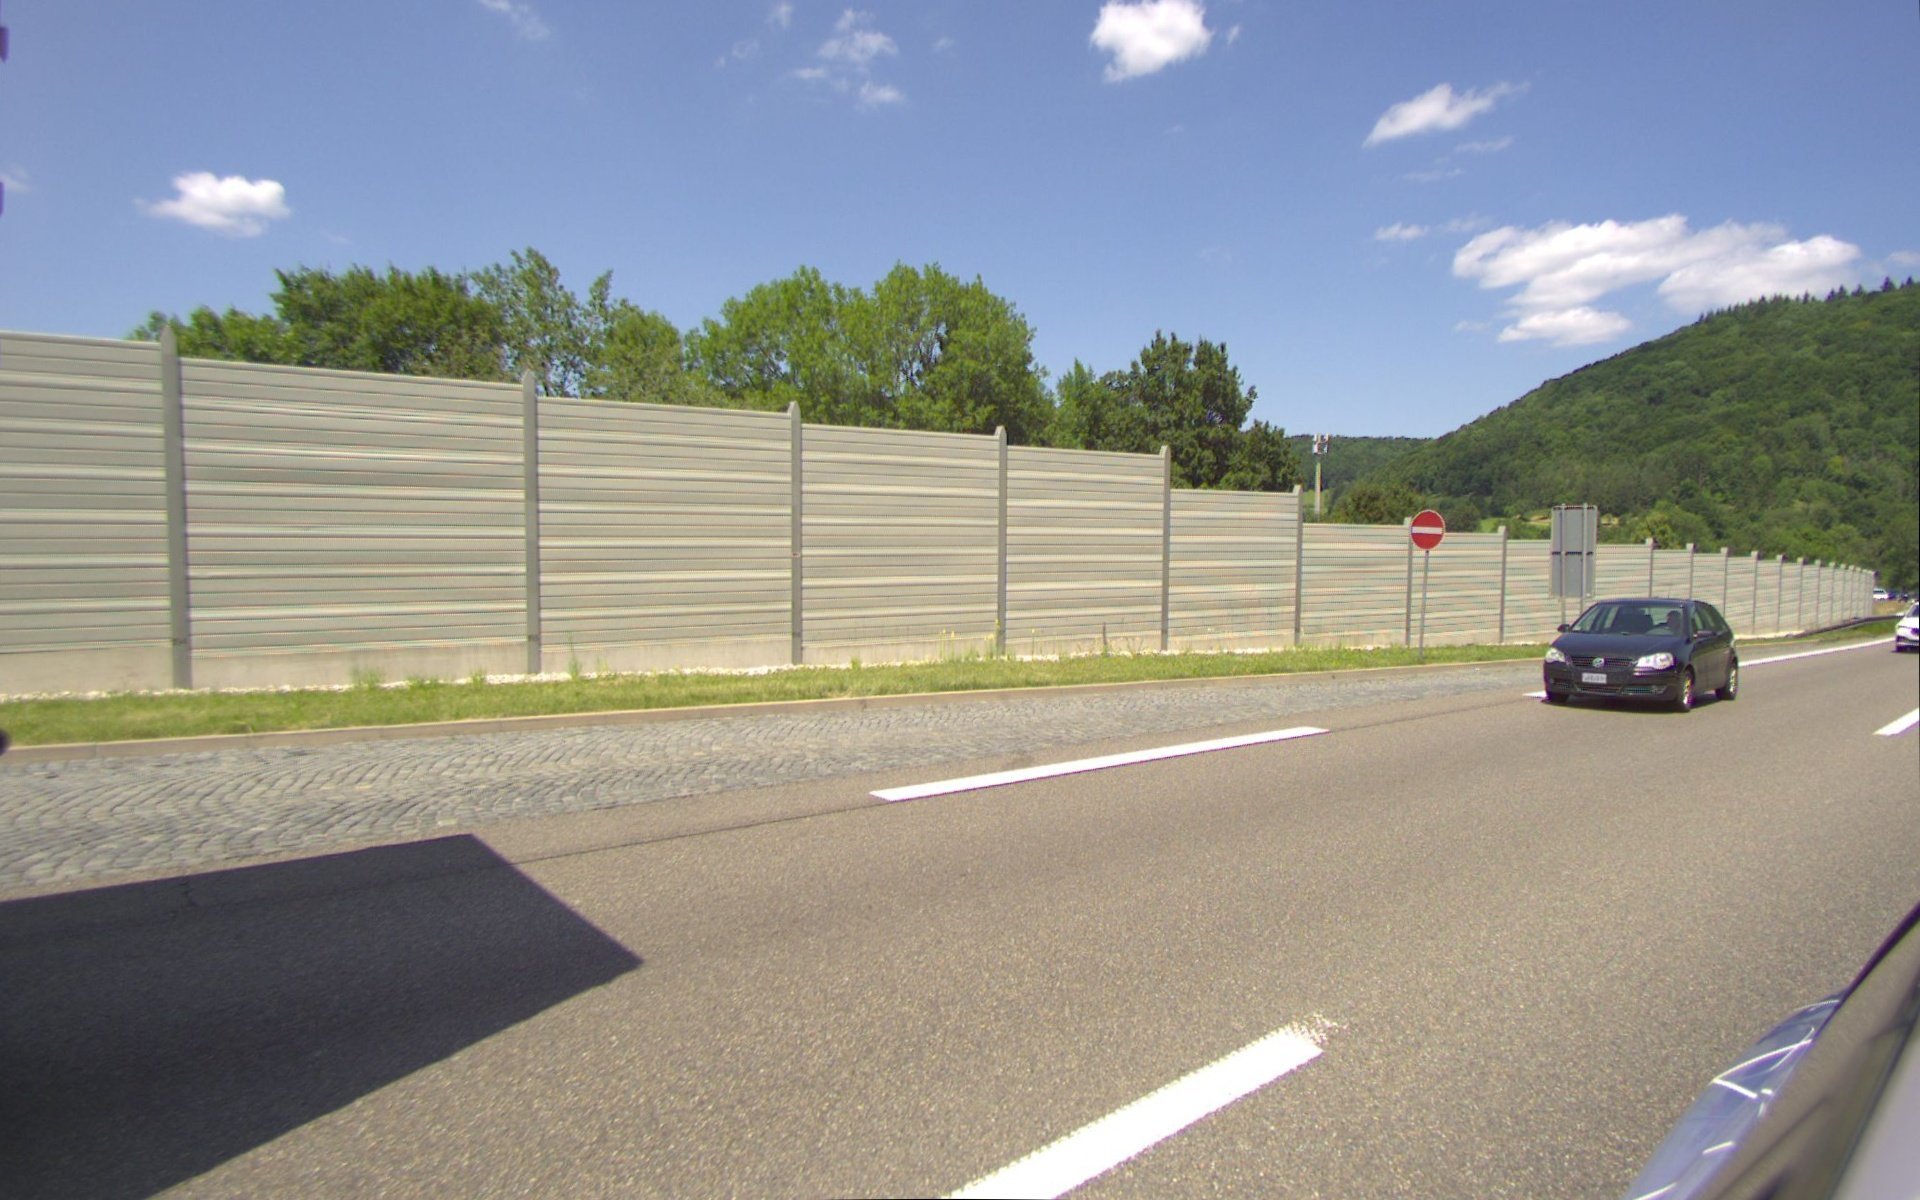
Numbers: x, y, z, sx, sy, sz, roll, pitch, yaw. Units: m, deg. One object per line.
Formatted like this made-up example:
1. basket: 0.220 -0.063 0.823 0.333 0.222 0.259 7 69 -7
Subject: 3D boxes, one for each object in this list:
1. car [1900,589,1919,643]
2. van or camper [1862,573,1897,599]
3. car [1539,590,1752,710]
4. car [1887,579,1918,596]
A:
1. car: 27.731 0.455 28.140 3.656 1.448 1.906 0 1 -41
2. van or camper: 109.979 -1.657 121.134 1.893 3.066 4.827 0 0 28
3. car: 9.670 0.581 14.178 3.774 1.440 1.693 -1 1 -43
4. car: 120.048 -1.574 128.970 1.982 2.039 3.959 -1 0 29
